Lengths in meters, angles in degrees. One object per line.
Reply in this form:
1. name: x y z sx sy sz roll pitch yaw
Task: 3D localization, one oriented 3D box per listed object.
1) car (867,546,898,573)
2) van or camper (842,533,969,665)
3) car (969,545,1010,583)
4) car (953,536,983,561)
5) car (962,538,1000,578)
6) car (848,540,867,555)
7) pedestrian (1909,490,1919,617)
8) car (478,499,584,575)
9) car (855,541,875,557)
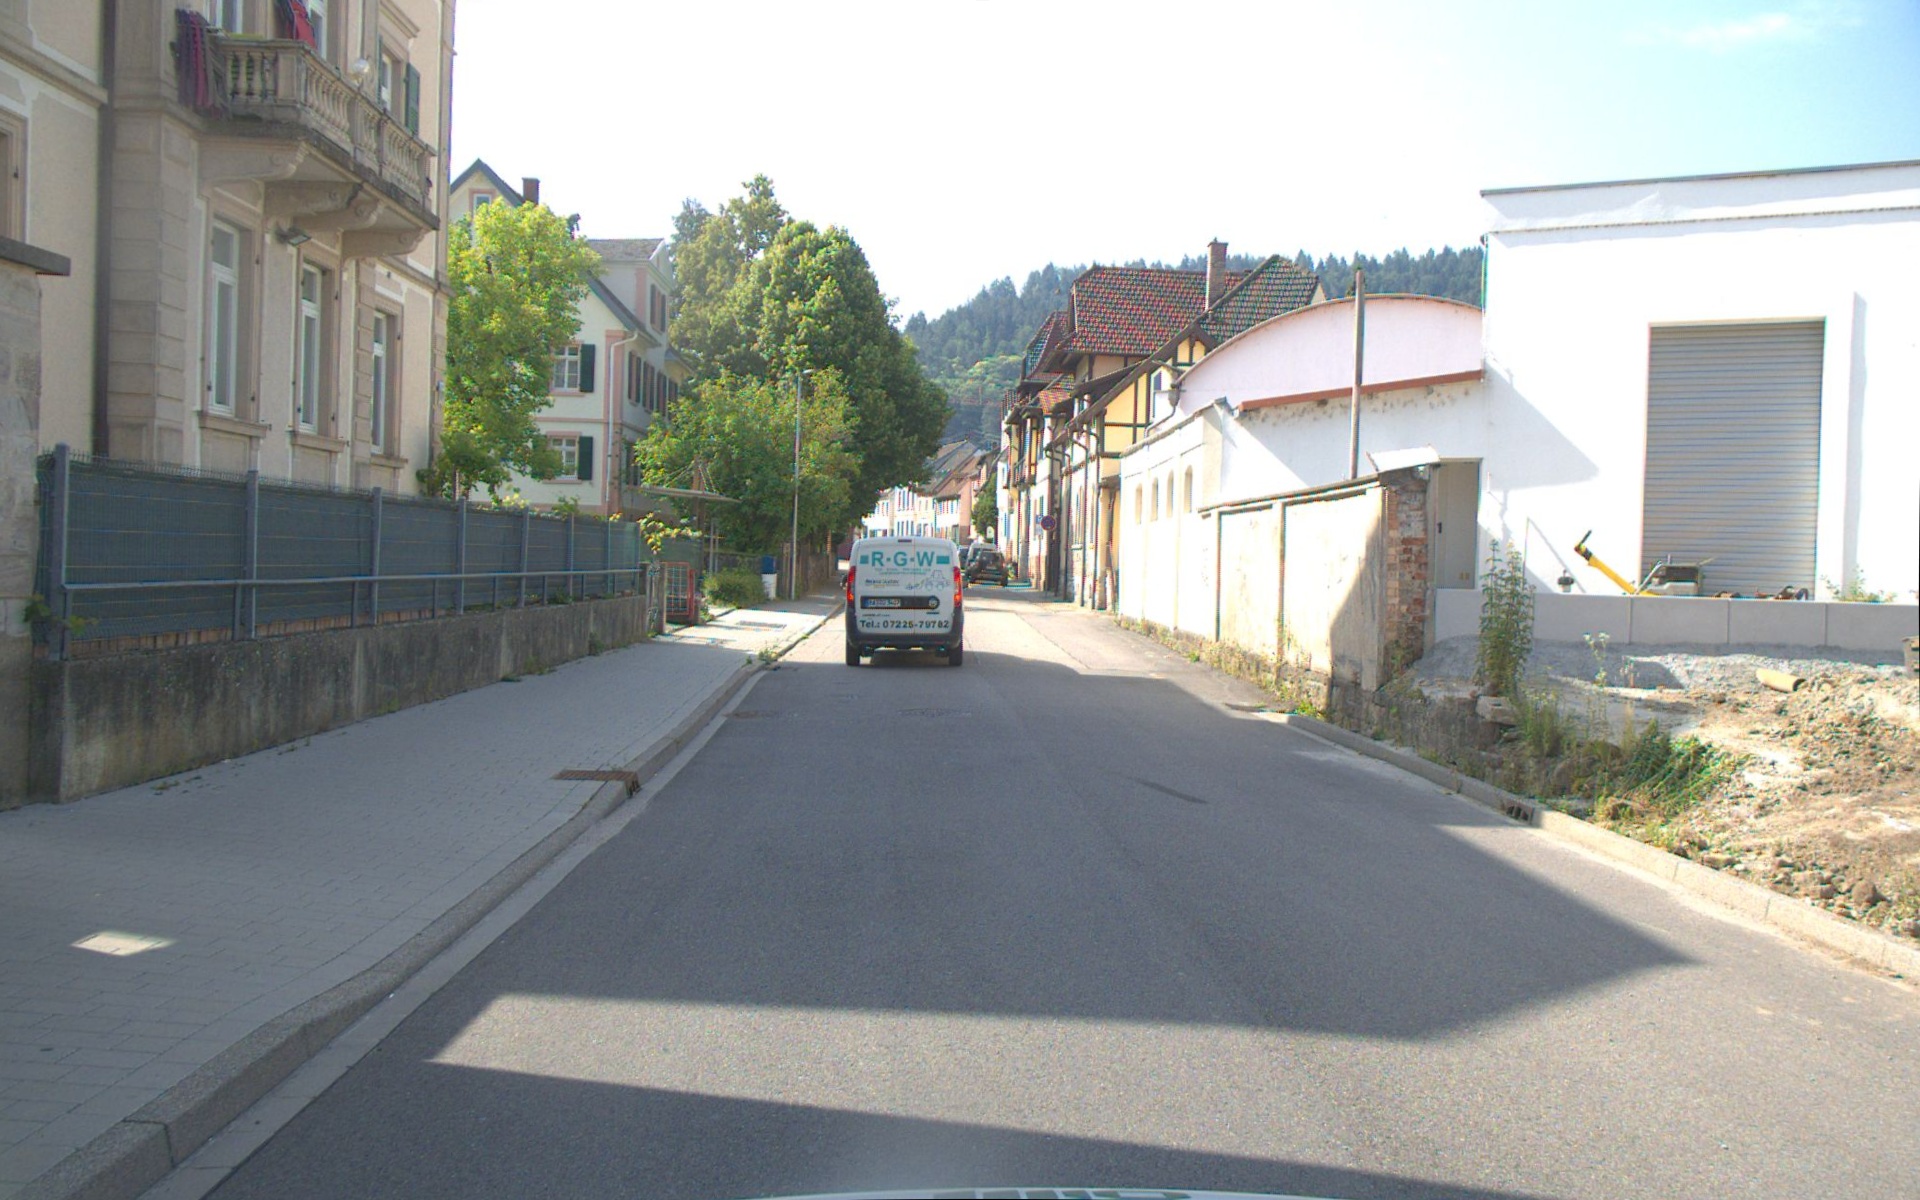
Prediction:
1. car: -8.785 -4.623 187.059 2.822 2.885 6.111 1 2 -9
2. van or camper: -0.865 -0.075 25.542 1.791 1.876 4.187 0 2 -3
3. car: 1.405 -1.778 80.608 1.774 1.624 3.926 4 2 -1
4. car: 0.506 -3.322 107.205 1.636 1.534 3.998 1 2 -3
5. car: 1.127 -2.336 90.799 1.834 2.048 3.999 2 2 -2
6. car: -12.761 -6.524 205.702 1.741 1.830 3.988 2 2 -13
7. pedestrian: 14.601 -0.682 24.441 0.595 1.929 0.635 4 2 -9
8. car: -11.660 -1.723 45.291 1.787 1.802 4.680 5 2 -3
9. car: -11.444 -6.151 199.569 1.741 1.830 3.988 2 2 -13
